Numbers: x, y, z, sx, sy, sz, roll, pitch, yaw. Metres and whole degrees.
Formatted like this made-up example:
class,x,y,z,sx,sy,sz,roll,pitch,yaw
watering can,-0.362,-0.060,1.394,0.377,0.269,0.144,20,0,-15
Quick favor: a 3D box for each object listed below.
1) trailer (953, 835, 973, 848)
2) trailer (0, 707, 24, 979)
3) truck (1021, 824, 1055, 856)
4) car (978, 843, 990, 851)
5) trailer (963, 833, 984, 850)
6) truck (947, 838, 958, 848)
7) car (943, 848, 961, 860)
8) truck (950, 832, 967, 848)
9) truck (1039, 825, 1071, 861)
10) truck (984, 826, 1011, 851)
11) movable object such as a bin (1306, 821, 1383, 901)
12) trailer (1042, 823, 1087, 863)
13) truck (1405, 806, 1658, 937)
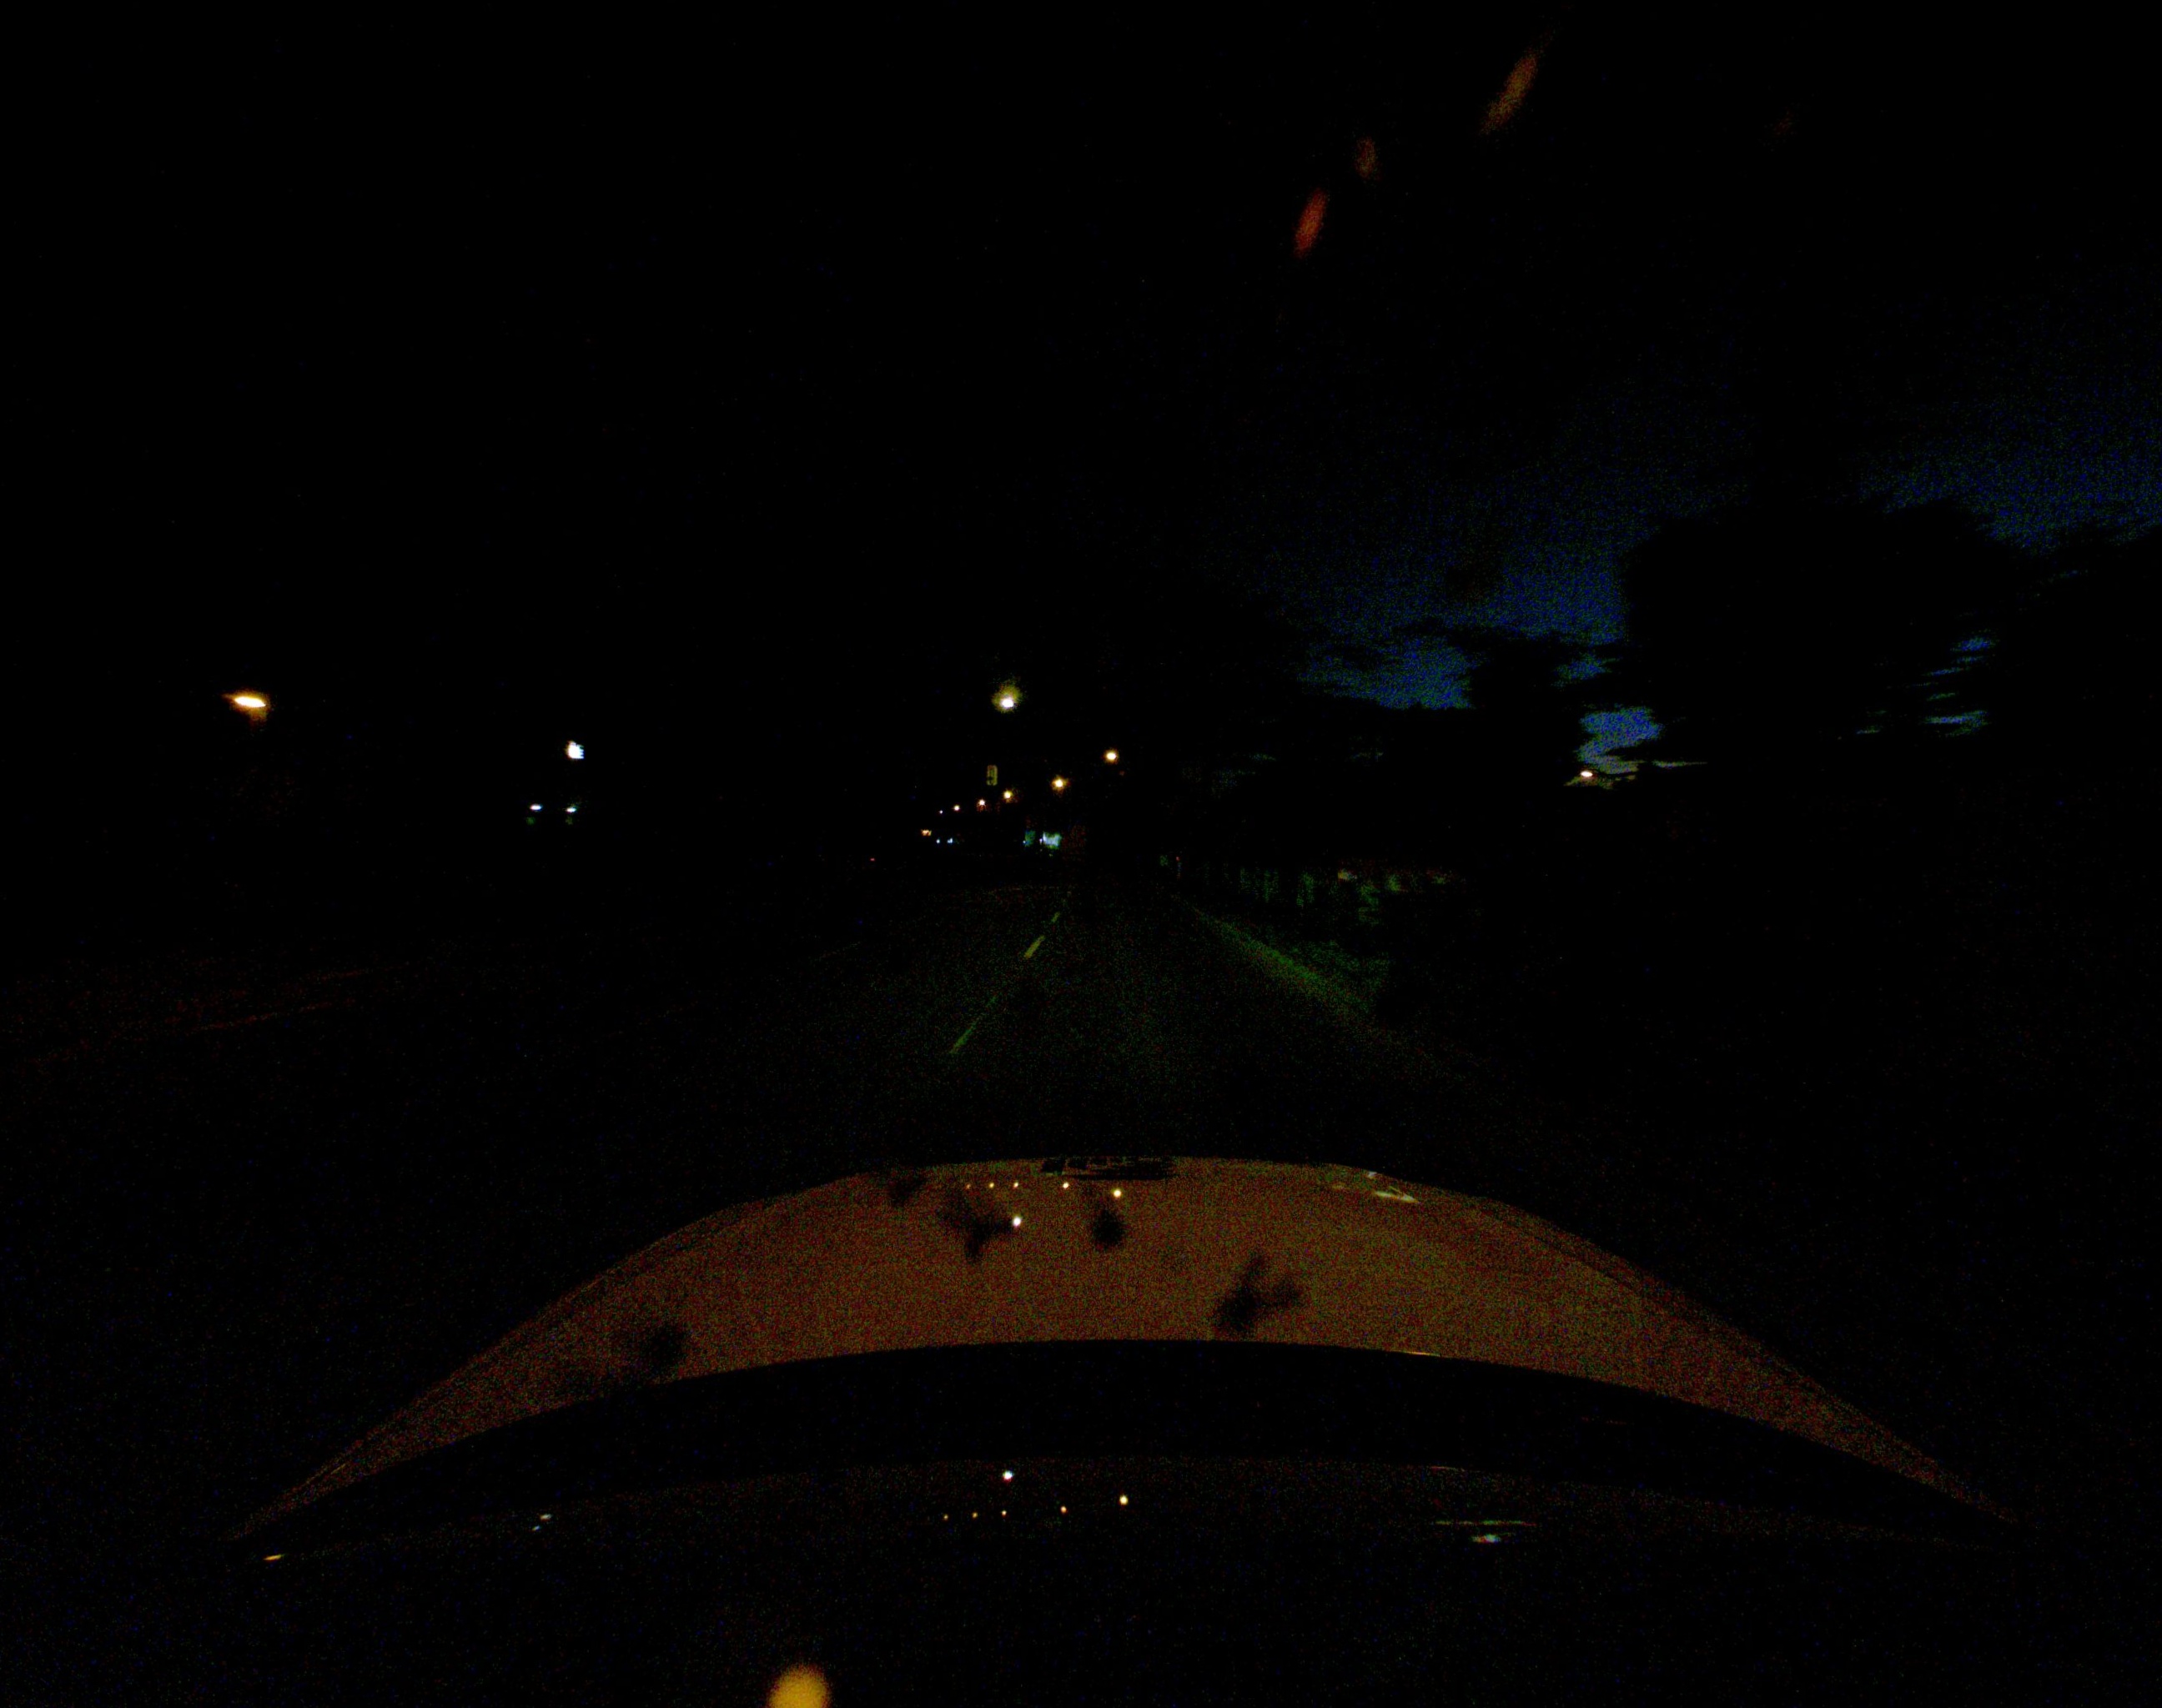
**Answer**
class,x,y,z,sx,sy,sz,roll,pitch,yaw
trailer,-26.409,-2.800,181.560,3.190,2.748,10.659,-1,1,-15
trailer,-12.959,-0.068,7.261,4.334,2.720,2.000,-1,1,0
truck,-5.716,-1.808,106.139,2.833,3.983,10.298,-1,1,-12
car,-18.307,-1.288,153.647,1.856,1.519,3.799,-1,1,-15
trailer,-21.954,-2.545,165.946,2.694,3.464,7.762,1,0,-18
truck,-31.639,-2.767,200.046,1.997,2.407,5.265,1,1,-15
car,-18.715,-0.076,118.262,1.998,1.636,4.747,1,0,-17
truck,-28.296,-3.252,188.405,3.157,3.463,6.638,-1,1,-15
truck,-3.115,-1.309,95.830,2.831,3.983,6.029,-1,1,-10
truck,-14.323,-2.648,138.626,3.523,3.983,10.302,-1,1,-11
movable object such as a bin,8.134,0.207,25.249,1.679,2.383,1.611,1,0,-11
trailer,-1.980,-1.203,89.201,2.809,3.983,13.928,-1,1,-10
truck,9.998,0.307,19.094,2.174,2.423,7.321,1,0,3
